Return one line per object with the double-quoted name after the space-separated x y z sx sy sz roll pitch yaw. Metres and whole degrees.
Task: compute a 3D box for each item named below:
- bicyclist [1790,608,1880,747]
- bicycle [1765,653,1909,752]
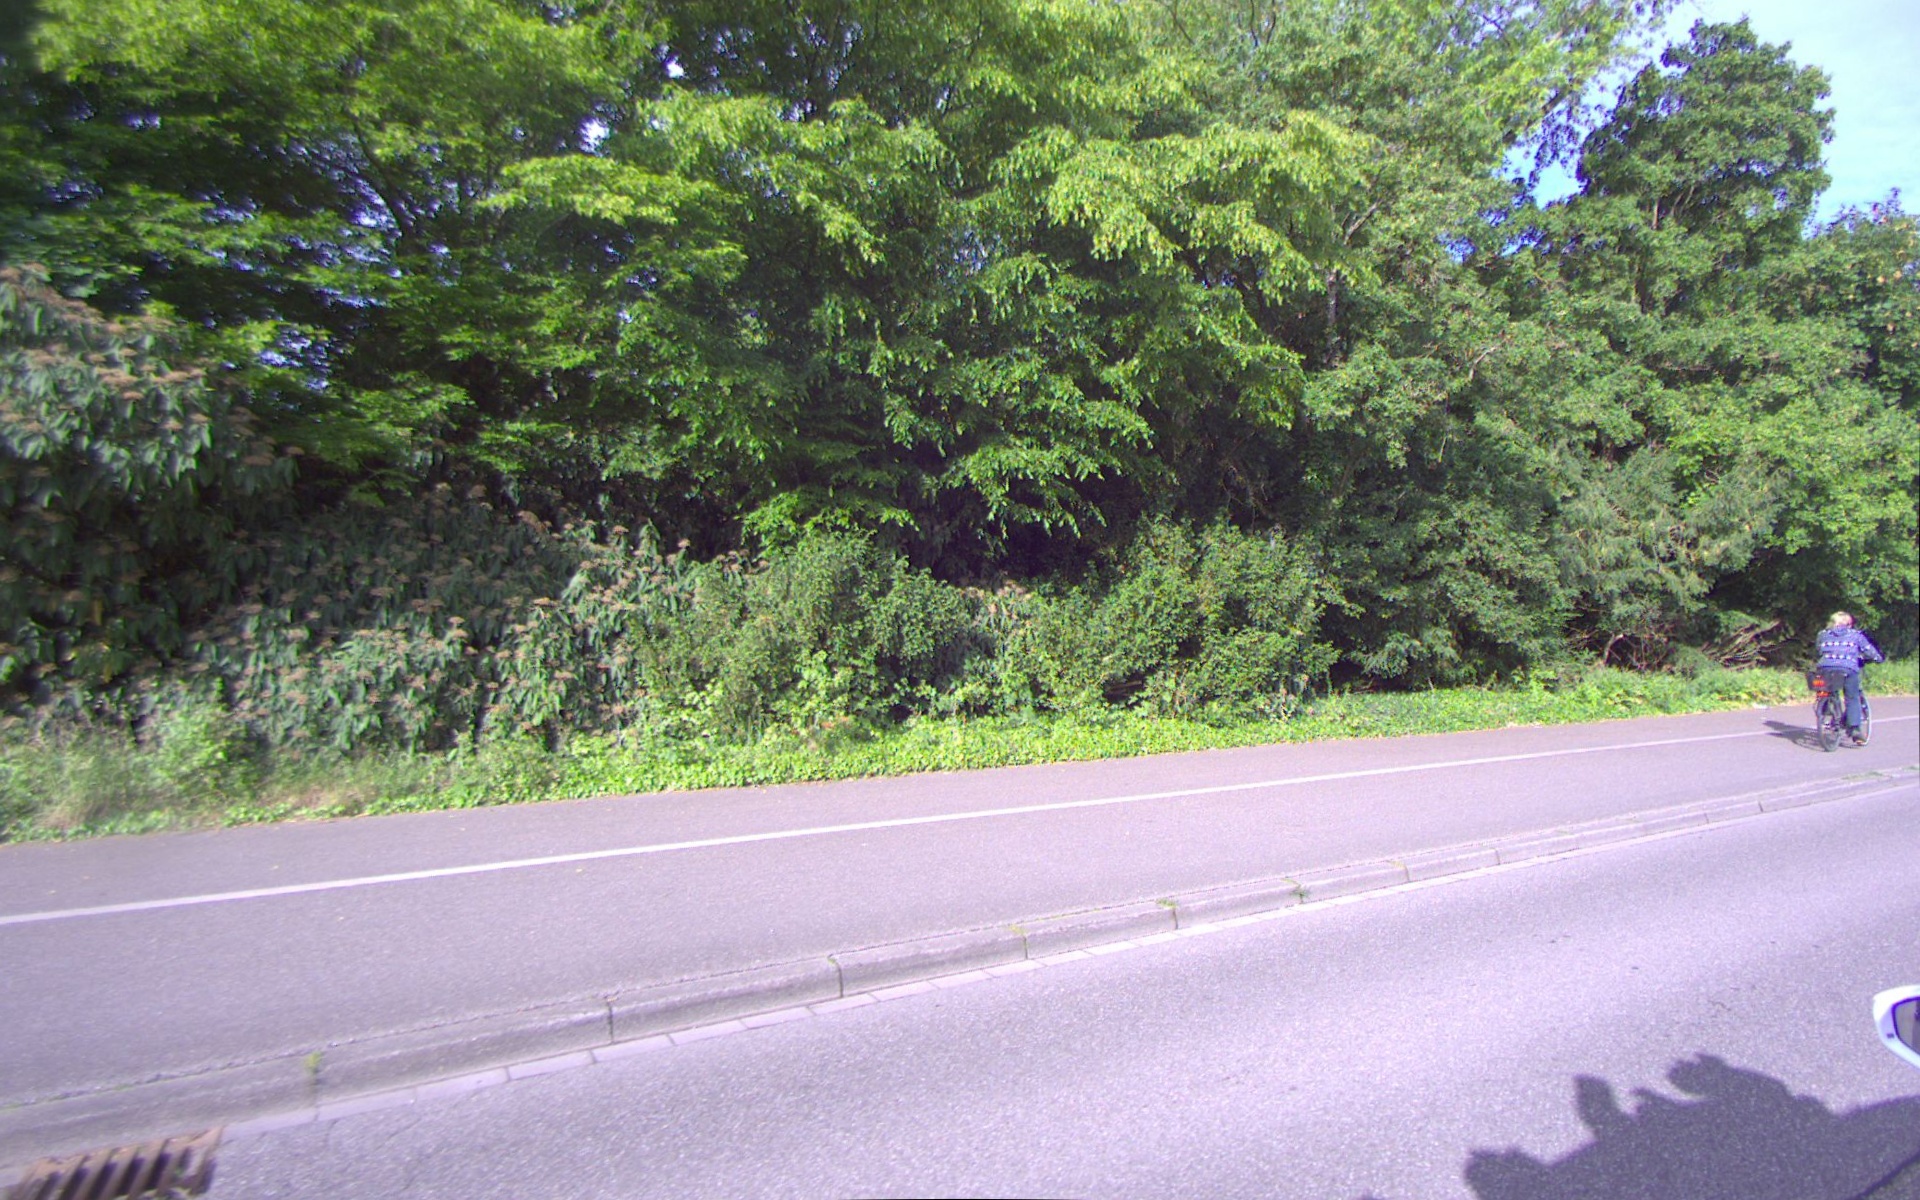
11.113 0.959 12.757 0.873 1.699 0.606 1 -1 -30 "bicyclist"
11.188 1.267 12.791 2.320 1.112 0.659 1 0 -30 "bicycle"
